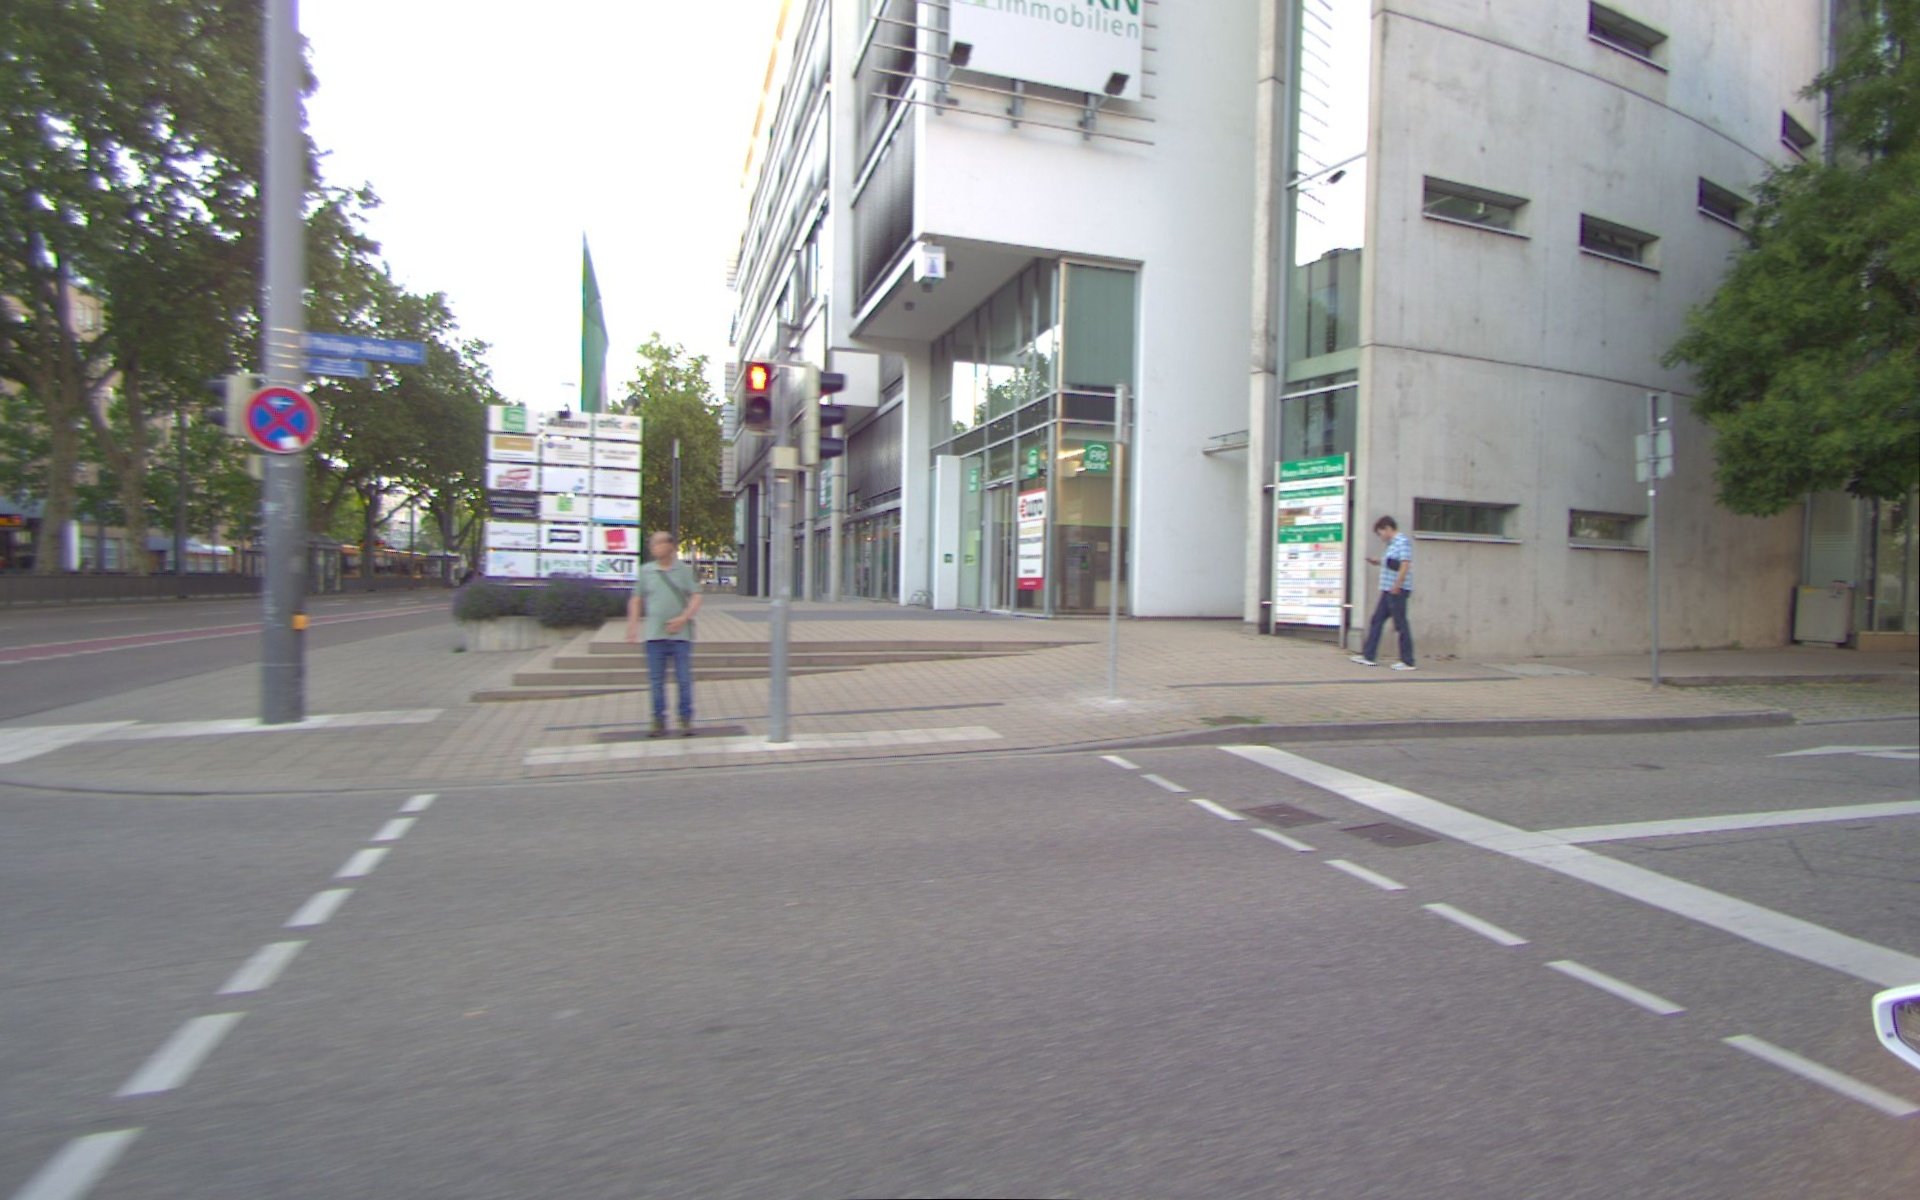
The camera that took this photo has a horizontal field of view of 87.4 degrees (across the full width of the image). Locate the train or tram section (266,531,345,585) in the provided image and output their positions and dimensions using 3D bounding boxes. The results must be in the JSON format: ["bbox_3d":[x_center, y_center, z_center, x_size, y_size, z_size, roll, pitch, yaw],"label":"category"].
[{"bbox_3d":[-45.293,-2.821,69.790,2.303,3.434,10.483,1,1,-20],"label":"train or tram section"}]

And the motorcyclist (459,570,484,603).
[{"bbox_3d":[-23.856,-0.664,49.084,0.927,1.603,1.025,1,1,-16],"label":"motorcyclist"}]

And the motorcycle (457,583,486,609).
[{"bbox_3d":[-23.862,-0.216,49.099,0.927,1.243,2.164,1,1,-16],"label":"motorcycle"}]

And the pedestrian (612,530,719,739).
[{"bbox_3d":[-2.518,0.281,8.628,0.693,1.724,0.547,1,1,10],"label":"pedestrian"}]

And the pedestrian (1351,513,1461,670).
[{"bbox_3d":[5.678,-0.112,12.830,0.864,1.909,0.697,1,8,-17],"label":"pedestrian"}]
